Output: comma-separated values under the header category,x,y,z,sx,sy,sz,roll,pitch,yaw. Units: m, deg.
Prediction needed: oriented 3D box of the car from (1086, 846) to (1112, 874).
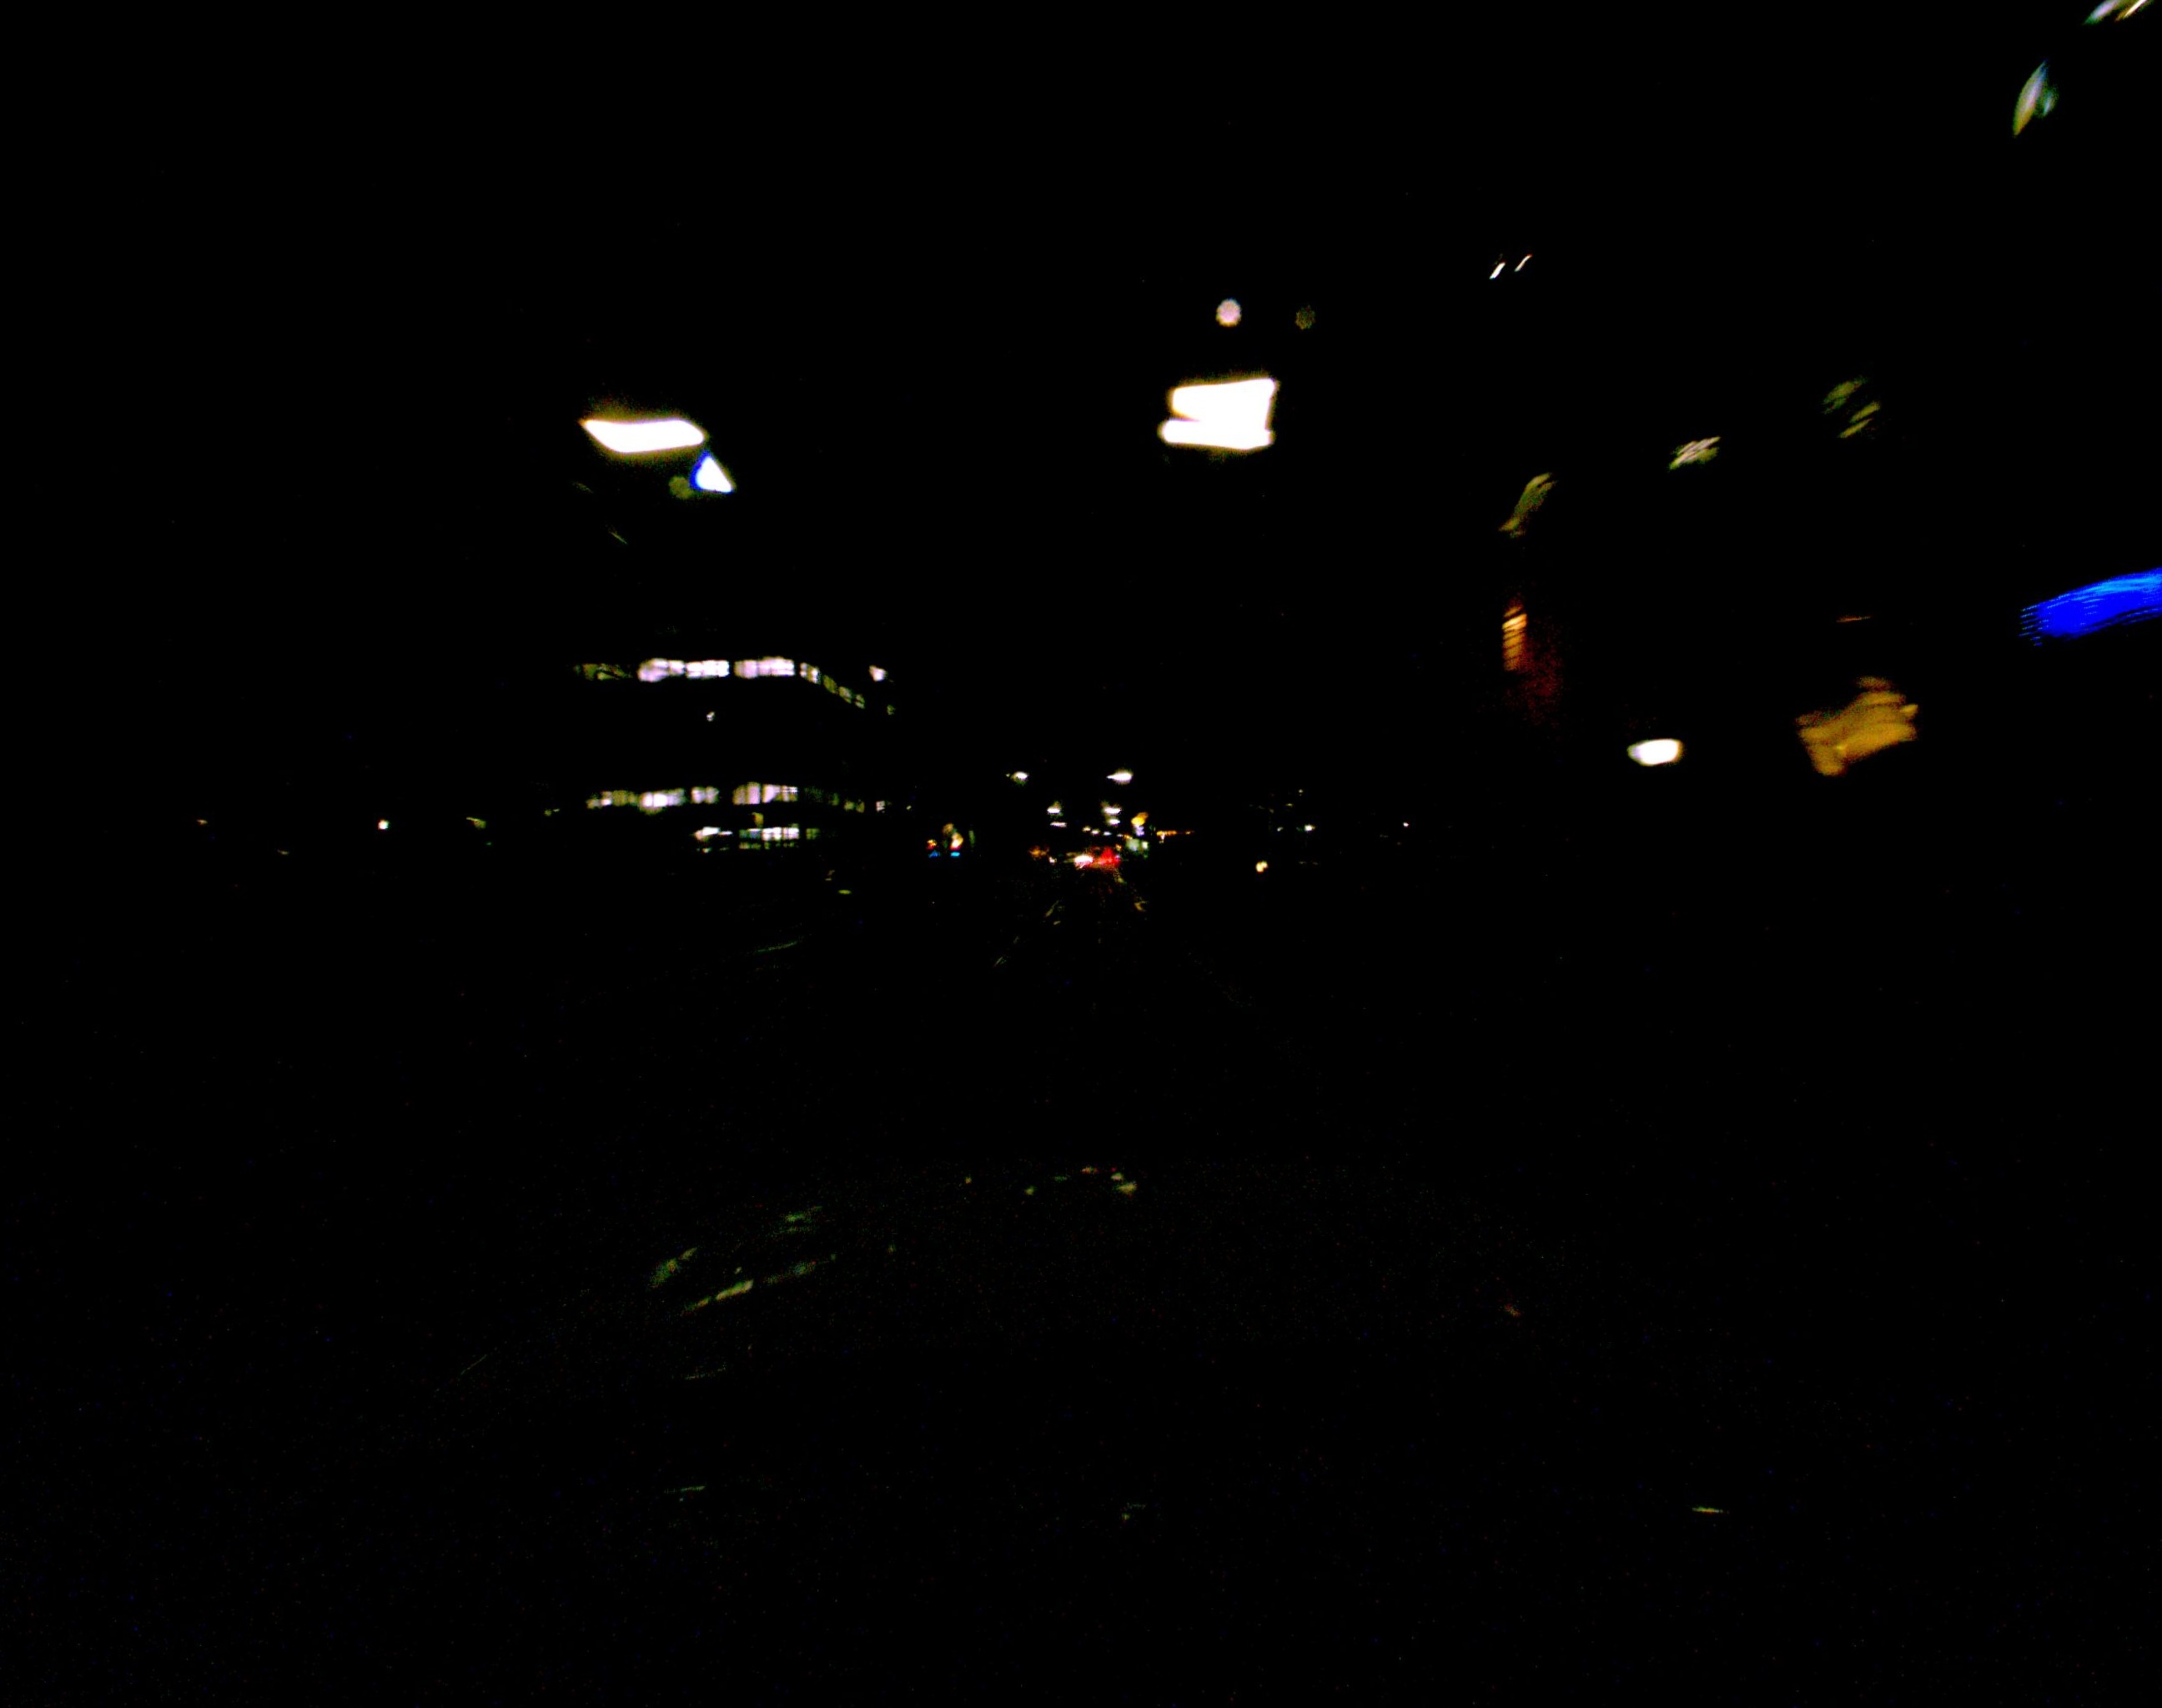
category,x,y,z,sx,sy,sz,roll,pitch,yaw
car,1.577,0.549,72.338,2.237,2.361,4.393,-1,0,0

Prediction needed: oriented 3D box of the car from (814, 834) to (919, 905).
category,x,y,z,sx,sy,sz,roll,pitch,yaw
car,-8.590,0.531,33.333,2.176,2.591,6.398,-1,0,4
